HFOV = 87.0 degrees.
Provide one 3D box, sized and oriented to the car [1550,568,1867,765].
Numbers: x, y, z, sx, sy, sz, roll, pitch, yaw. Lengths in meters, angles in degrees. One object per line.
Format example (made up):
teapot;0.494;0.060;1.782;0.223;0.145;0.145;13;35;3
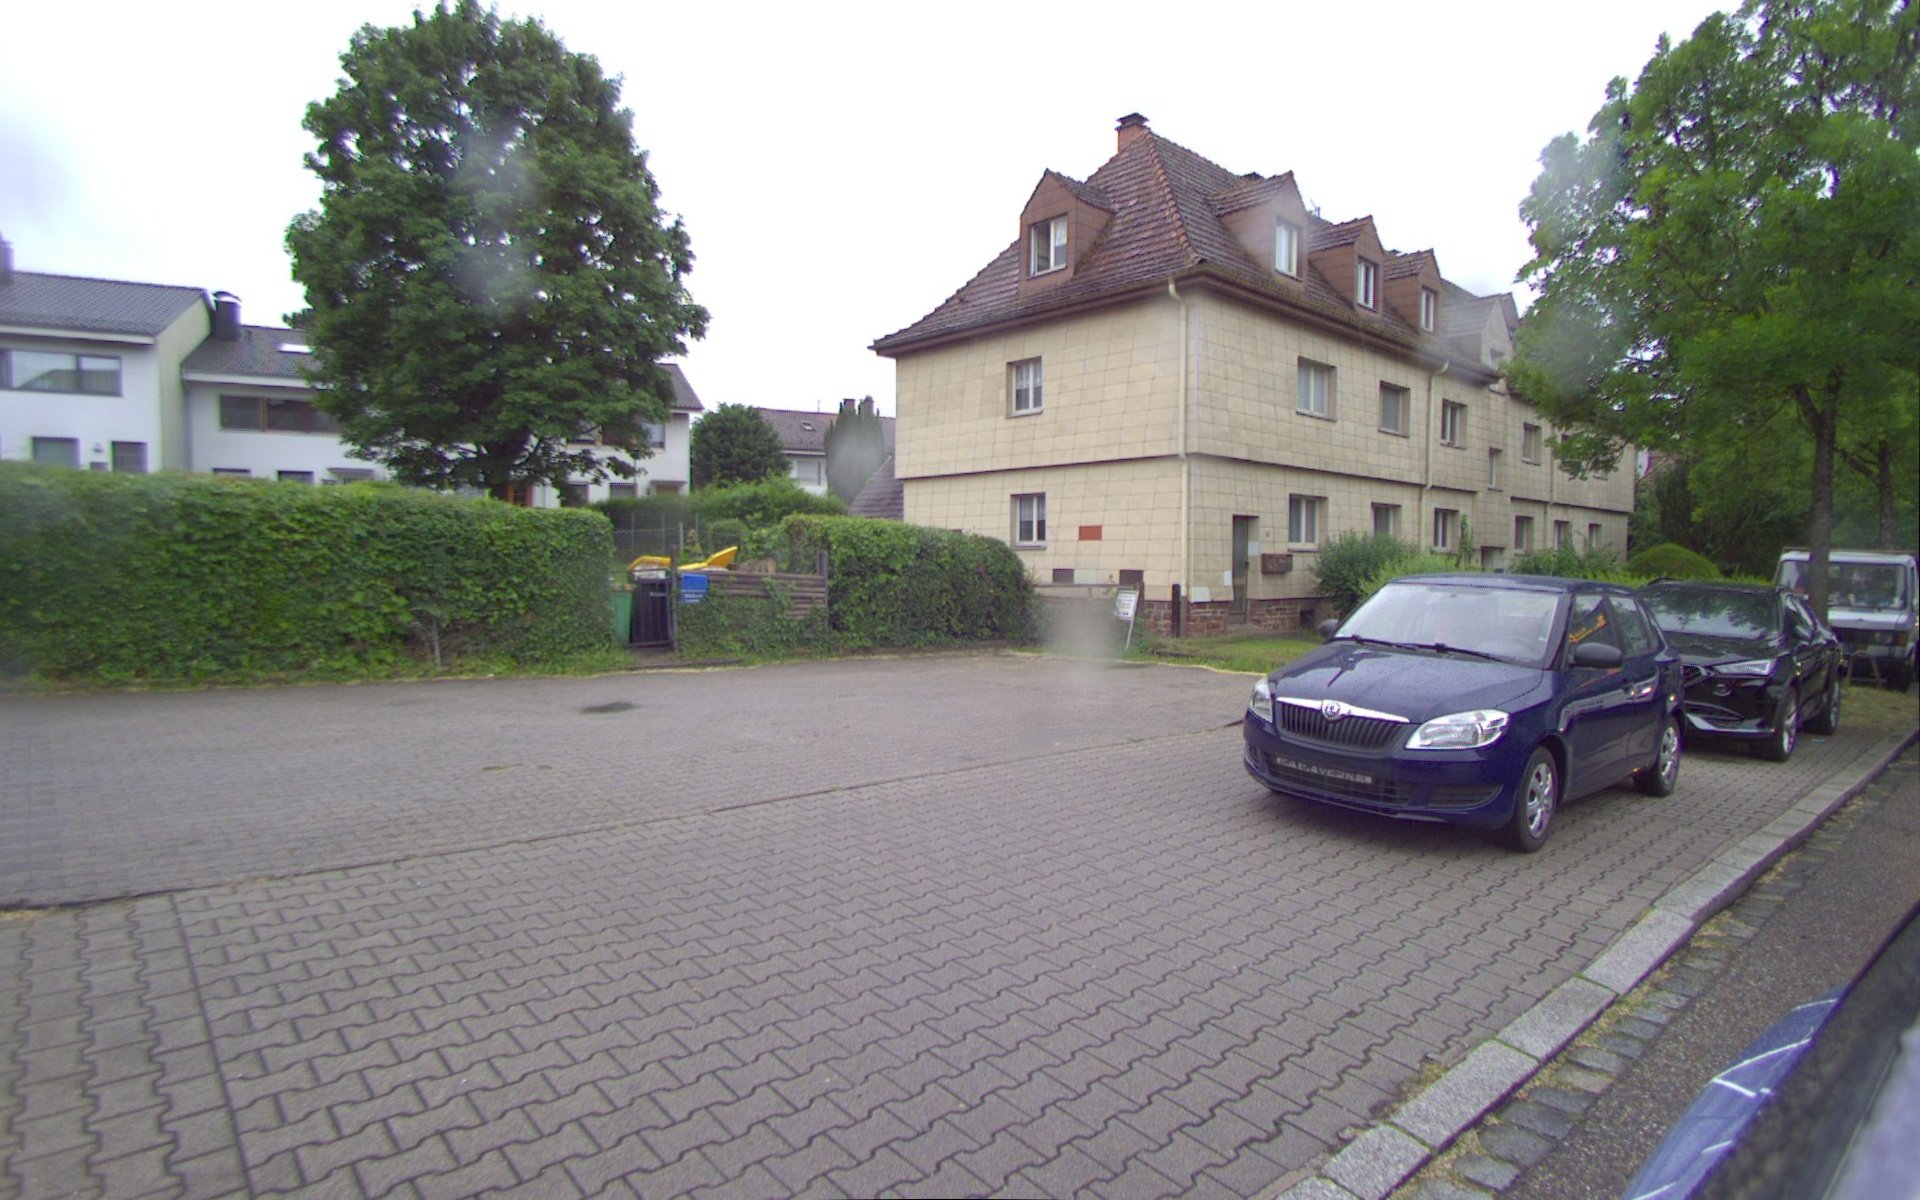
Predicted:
car;7.451;0.486;9.939;3.932;1.481;1.719;-1;4;-42

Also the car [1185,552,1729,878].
car;3.383;0.479;6.556;3.930;1.441;1.719;-1;4;-41

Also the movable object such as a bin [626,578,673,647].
movable object such as a bin;-4.441;0.169;14.473;0.441;0.954;0.539;0;0;-45

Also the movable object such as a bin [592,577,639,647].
movable object such as a bin;-4.797;0.156;14.092;0.441;0.954;0.539;0;0;-45

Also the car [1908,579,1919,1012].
car;5.627;0.687;4.304;4.240;1.548;1.881;0;-1;-41

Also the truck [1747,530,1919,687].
truck;15.170;0.092;16.919;5.653;2.224;1.998;0;2;-40
